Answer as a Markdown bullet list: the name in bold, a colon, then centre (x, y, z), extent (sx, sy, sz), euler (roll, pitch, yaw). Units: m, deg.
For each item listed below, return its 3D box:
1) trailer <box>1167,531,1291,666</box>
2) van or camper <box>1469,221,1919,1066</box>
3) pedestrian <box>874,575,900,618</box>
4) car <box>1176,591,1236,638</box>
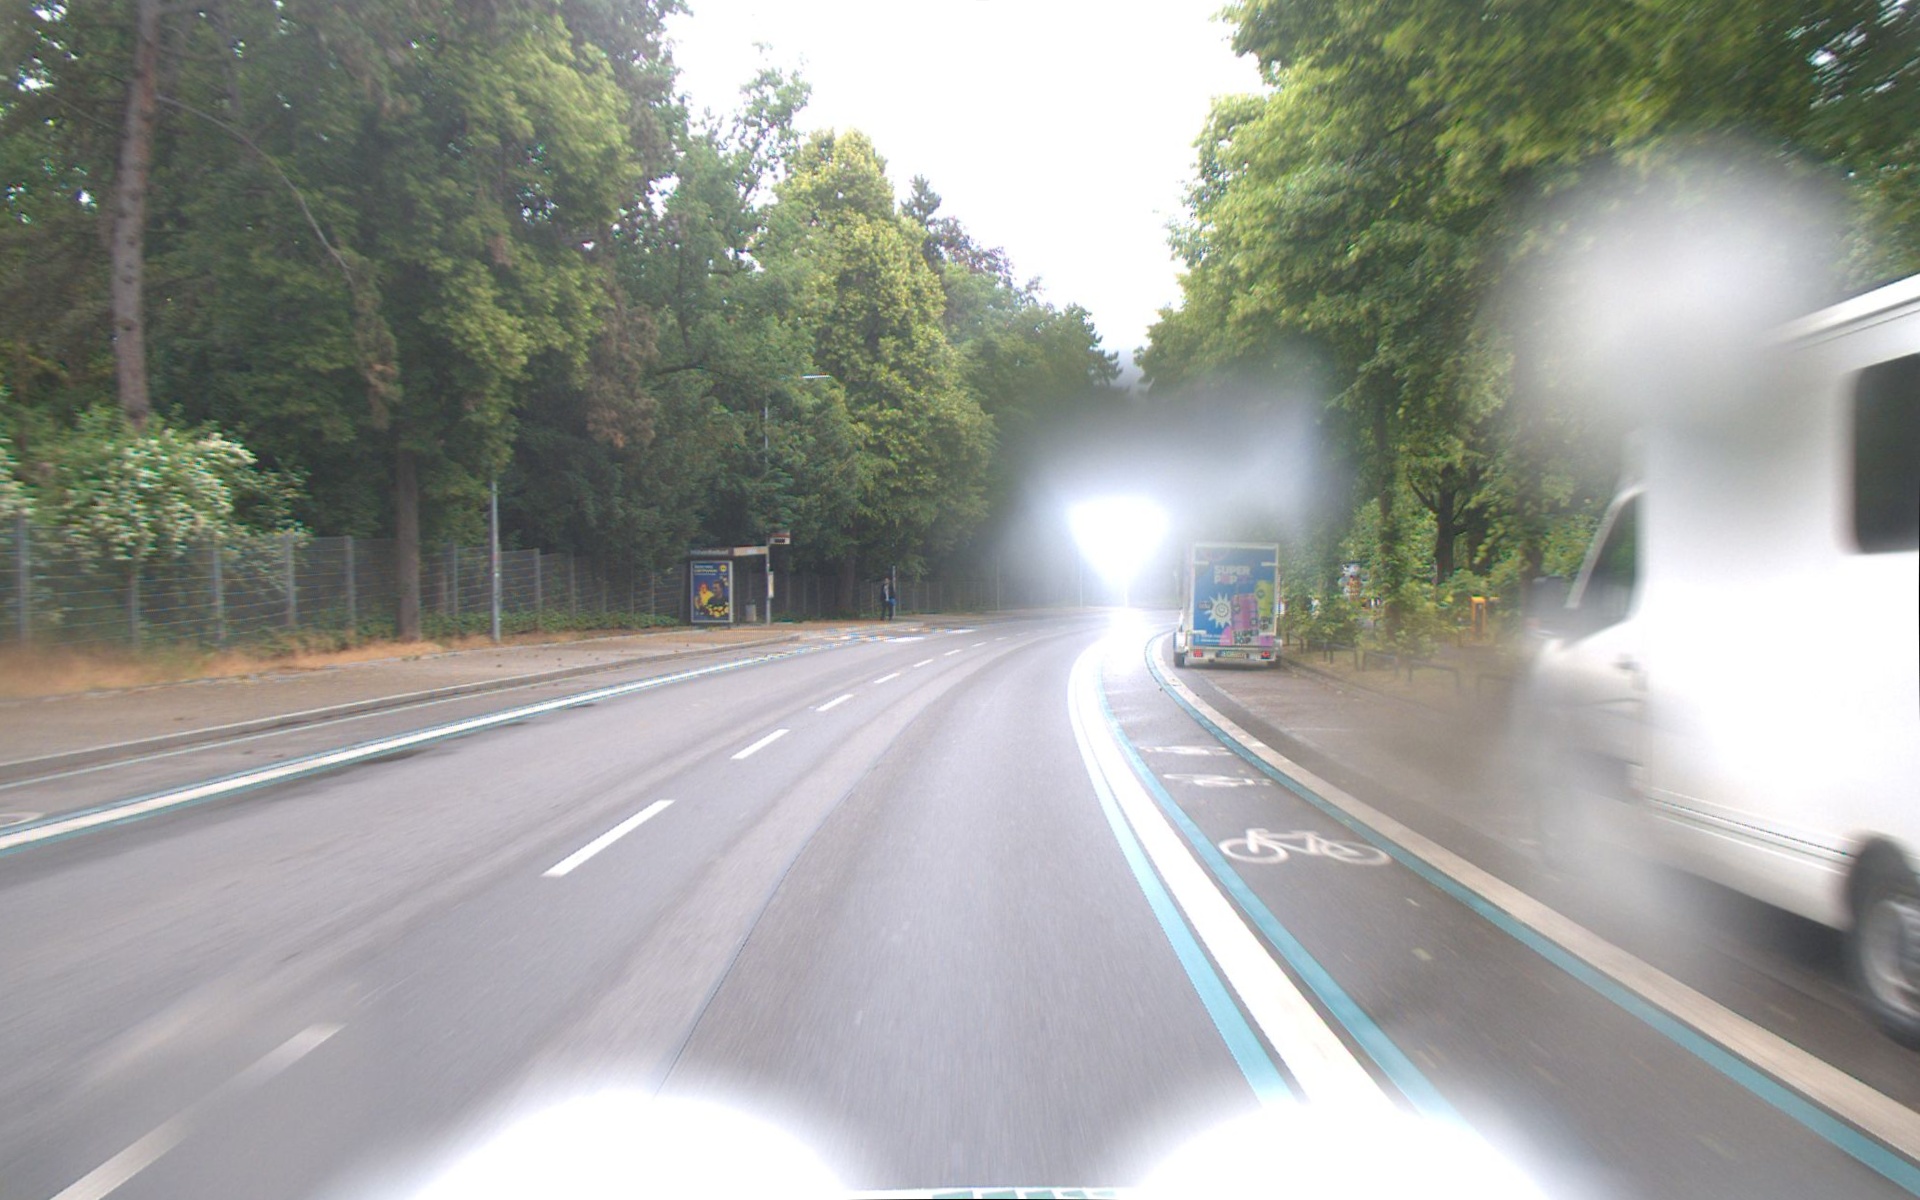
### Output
- **trailer**: centre (5.821, -0.043, 36.394), extent (2.267, 2.718, 5.379), euler (1, 0, 5)
- **van or camper**: centre (4.295, 0.132, 7.375), extent (2.268, 2.711, 6.384), euler (1, 0, 2)
- **pedestrian**: centre (-3.033, -0.140, 68.789), extent (0.868, 1.763, 1.147), euler (1, 0, 5)
- **car**: centre (8.320, 0.469, 55.676), extent (1.820, 1.453, 4.653), euler (2, 0, 10)
